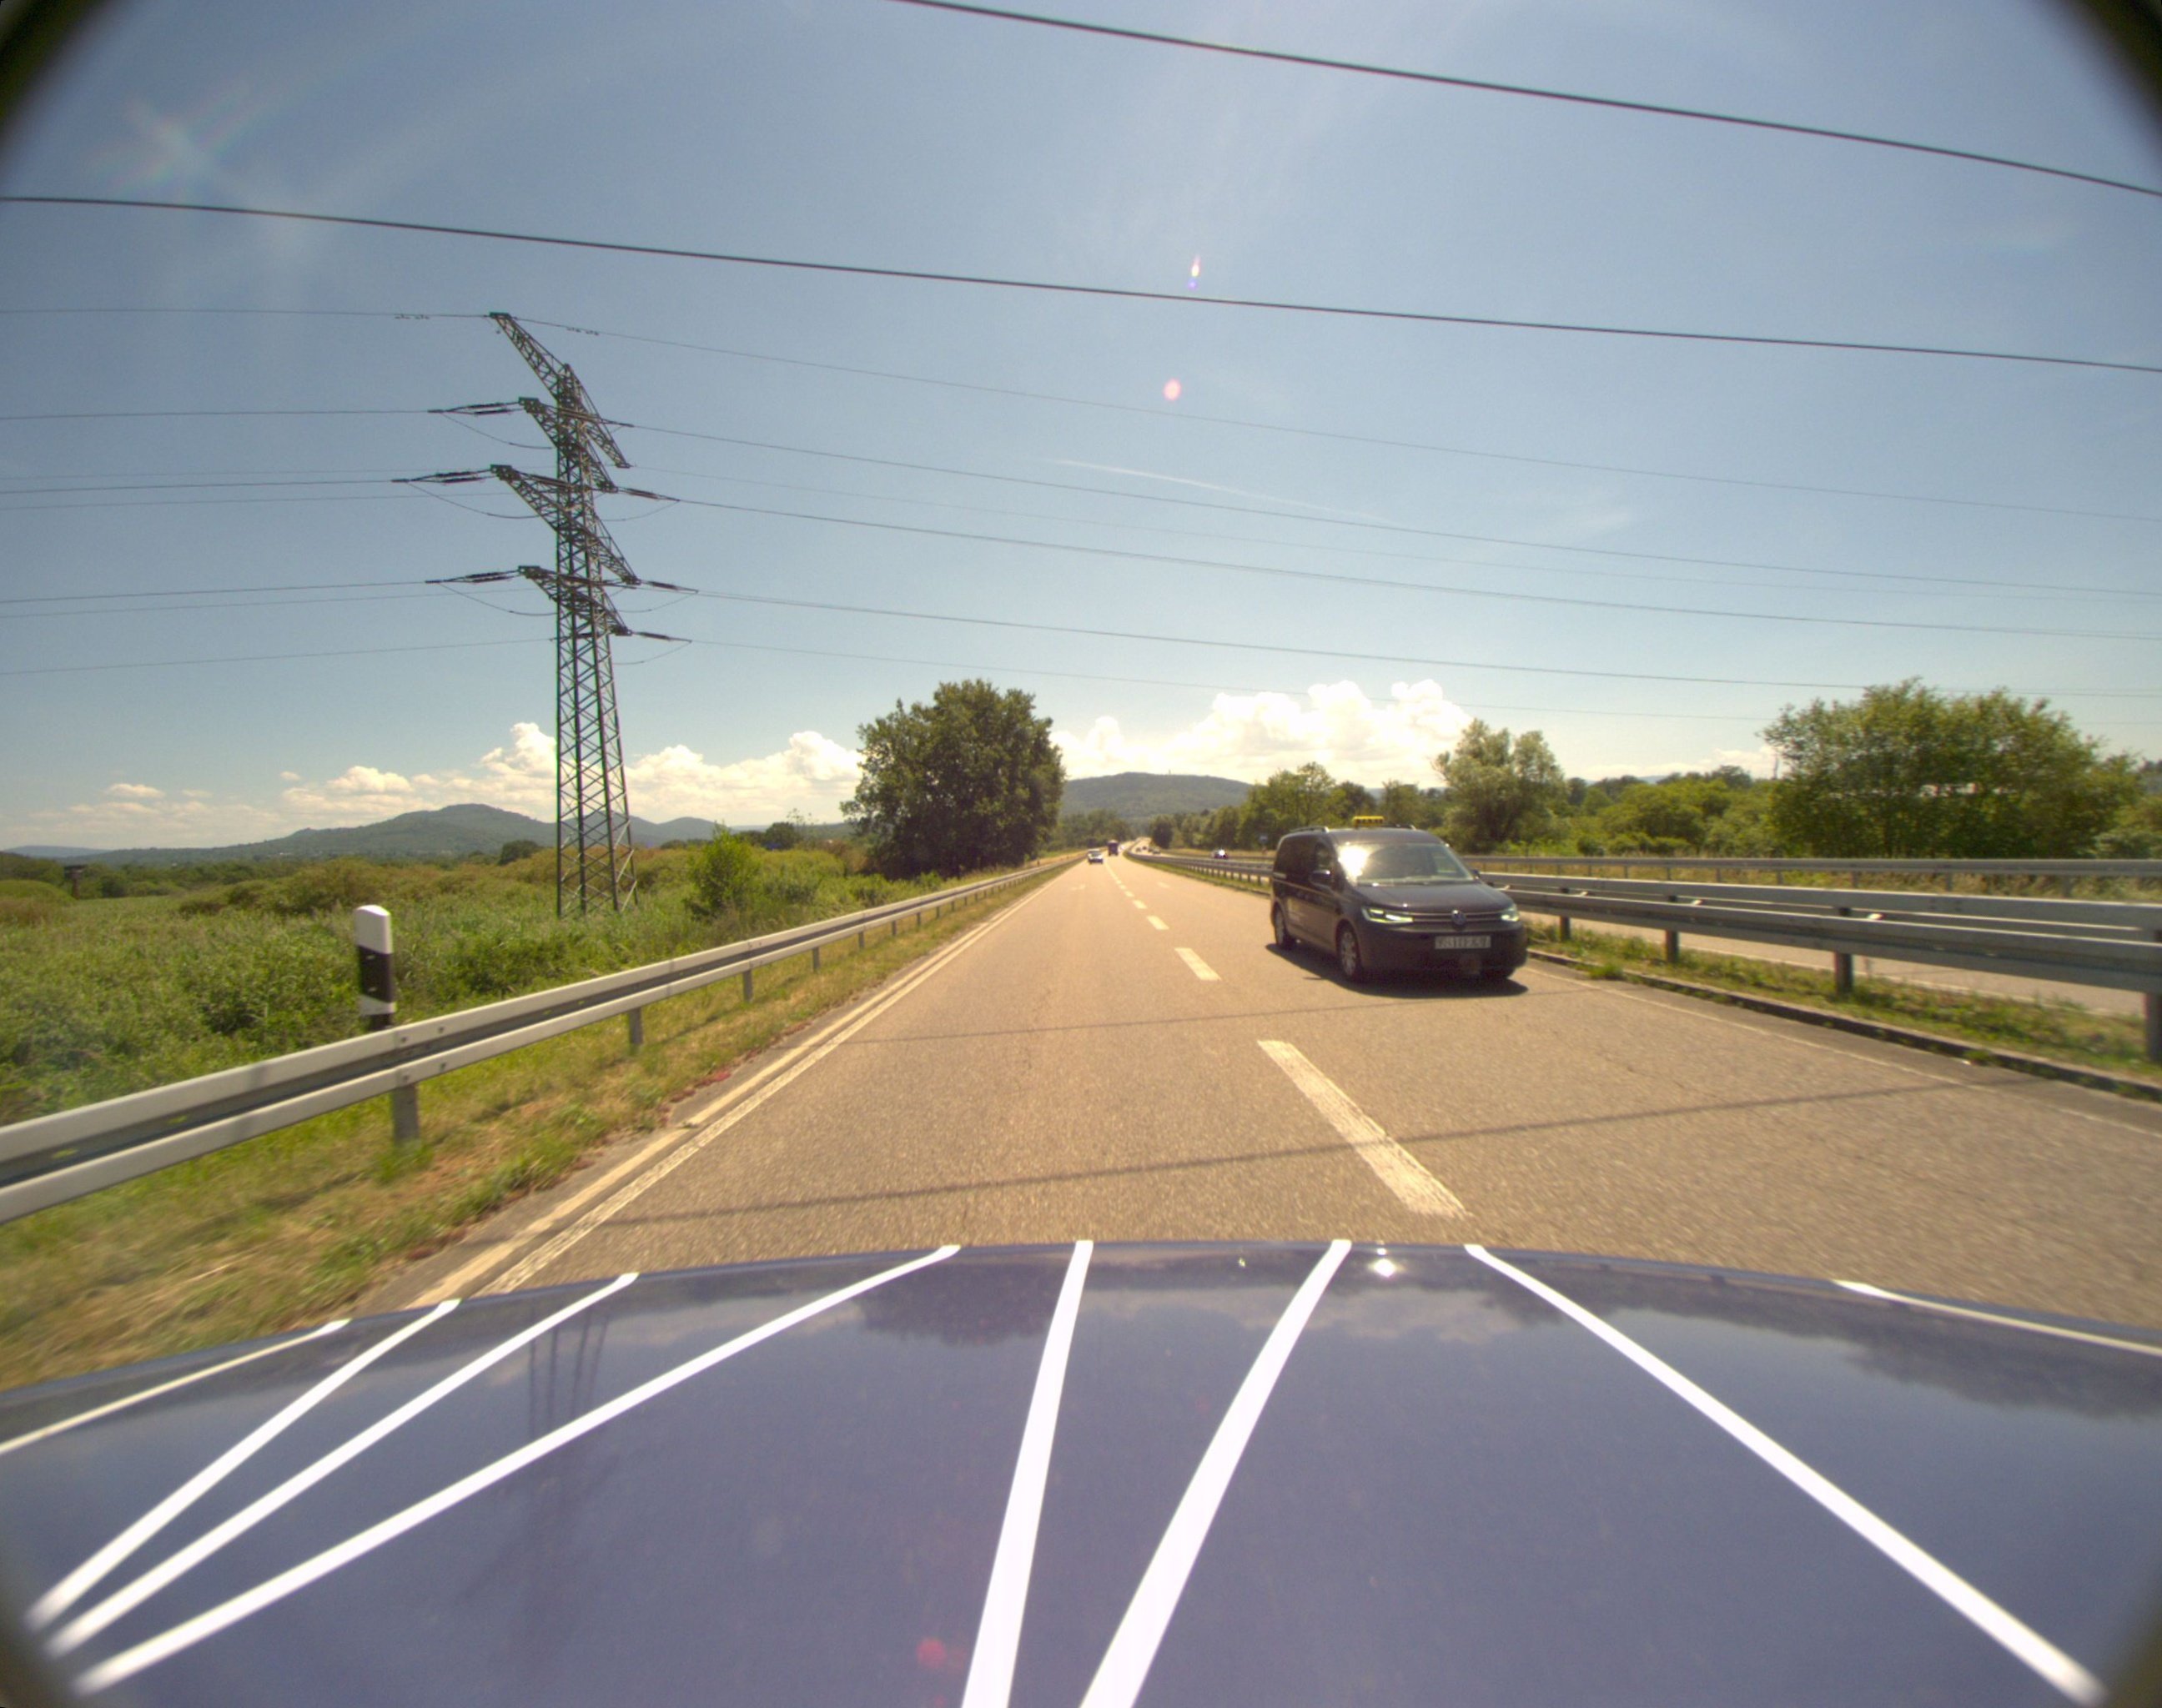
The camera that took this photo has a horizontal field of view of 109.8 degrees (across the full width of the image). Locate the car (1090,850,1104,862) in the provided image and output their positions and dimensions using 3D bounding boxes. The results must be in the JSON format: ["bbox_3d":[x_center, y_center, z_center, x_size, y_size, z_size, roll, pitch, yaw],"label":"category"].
[{"bbox_3d":[2.081,0.217,99.368,1.577,1.387,3.486,-2,1,4],"label":"car"}]

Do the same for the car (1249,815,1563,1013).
[{"bbox_3d":[3.785,0.558,10.193,1.859,1.876,5.573,-2,1,1],"label":"car"}]

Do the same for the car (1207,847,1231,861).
[{"bbox_3d":[15.035,-0.022,82.810,1.849,1.405,4.680,-2,1,1],"label":"car"}]

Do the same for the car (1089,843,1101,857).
[{"bbox_3d":[2.195,-0.665,118.668,1.619,2.086,3.486,-2,1,4],"label":"car"}]

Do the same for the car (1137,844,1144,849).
[{"bbox_3d":[20.333,-2.620,259.824,1.984,1.797,4.968,-2,1,2],"label":"car"}]

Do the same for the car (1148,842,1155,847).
[{"bbox_3d":[22.555,-3.097,242.059,1.846,1.608,4.170,-2,1,2],"label":"car"}]

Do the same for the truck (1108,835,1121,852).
[{"bbox_3d":[8.595,-2.670,192.611,2.826,4.143,9.949,-2,1,4],"label":"truck"}]

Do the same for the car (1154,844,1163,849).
[{"bbox_3d":[19.978,-1.954,195.213,1.929,1.377,4.658,-1,1,2],"label":"car"}]
